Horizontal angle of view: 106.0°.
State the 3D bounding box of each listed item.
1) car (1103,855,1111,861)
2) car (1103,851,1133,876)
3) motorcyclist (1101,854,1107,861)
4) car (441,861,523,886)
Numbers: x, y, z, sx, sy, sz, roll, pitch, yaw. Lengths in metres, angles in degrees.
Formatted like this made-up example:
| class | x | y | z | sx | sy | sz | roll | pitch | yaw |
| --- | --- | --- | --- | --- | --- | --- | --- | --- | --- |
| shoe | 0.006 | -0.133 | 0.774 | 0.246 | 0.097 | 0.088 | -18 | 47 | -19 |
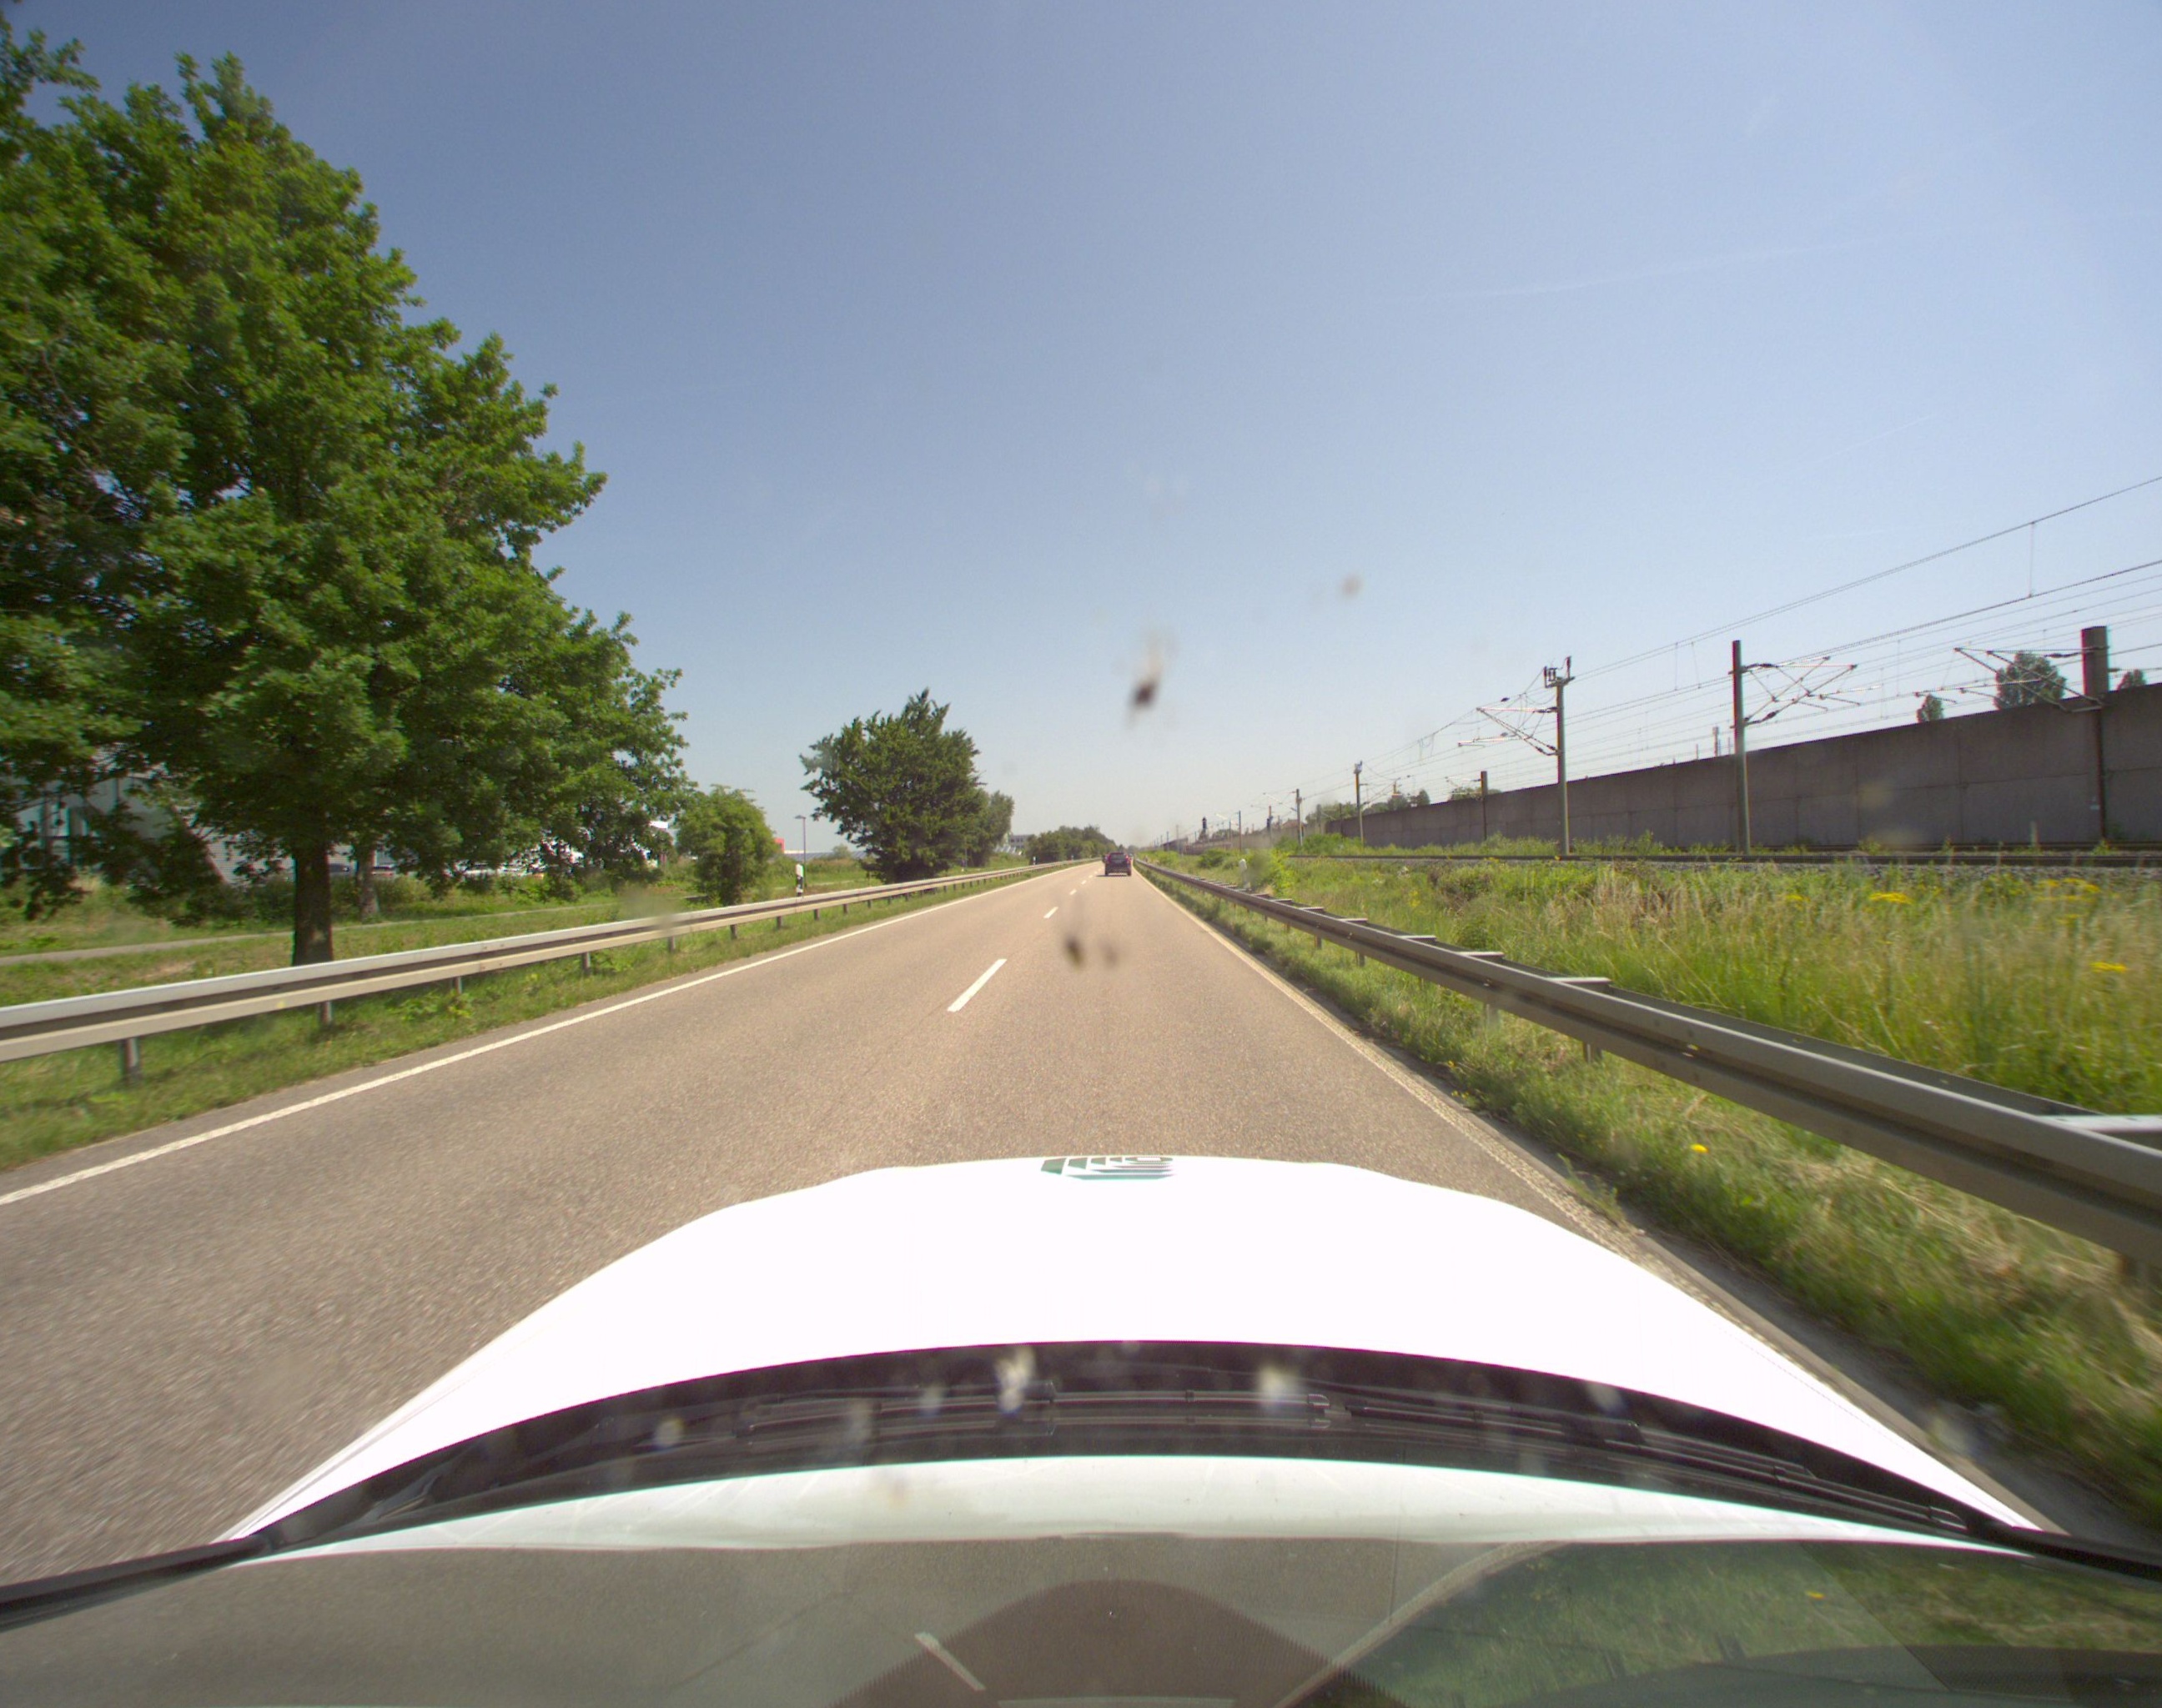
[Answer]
| class | x | y | z | sx | sy | sz | roll | pitch | yaw |
| --- | --- | --- | --- | --- | --- | --- | --- | --- | --- |
| car | 6.149 | 0.912 | 190.998 | 1.691 | 1.475 | 4.690 | 0 | 0 | 3 |
| car | 2.610 | 0.640 | 58.440 | 1.986 | 1.700 | 4.001 | -1 | 0 | 1 |
| motorcyclist | 3.983 | 0.616 | 140.158 | 0.989 | 1.310 | 0.936 | 0 | -1 | 3 |
| car | -40.483 | 1.276 | 55.108 | 4.218 | 1.437 | 1.622 | -3 | 0 | -5 |
